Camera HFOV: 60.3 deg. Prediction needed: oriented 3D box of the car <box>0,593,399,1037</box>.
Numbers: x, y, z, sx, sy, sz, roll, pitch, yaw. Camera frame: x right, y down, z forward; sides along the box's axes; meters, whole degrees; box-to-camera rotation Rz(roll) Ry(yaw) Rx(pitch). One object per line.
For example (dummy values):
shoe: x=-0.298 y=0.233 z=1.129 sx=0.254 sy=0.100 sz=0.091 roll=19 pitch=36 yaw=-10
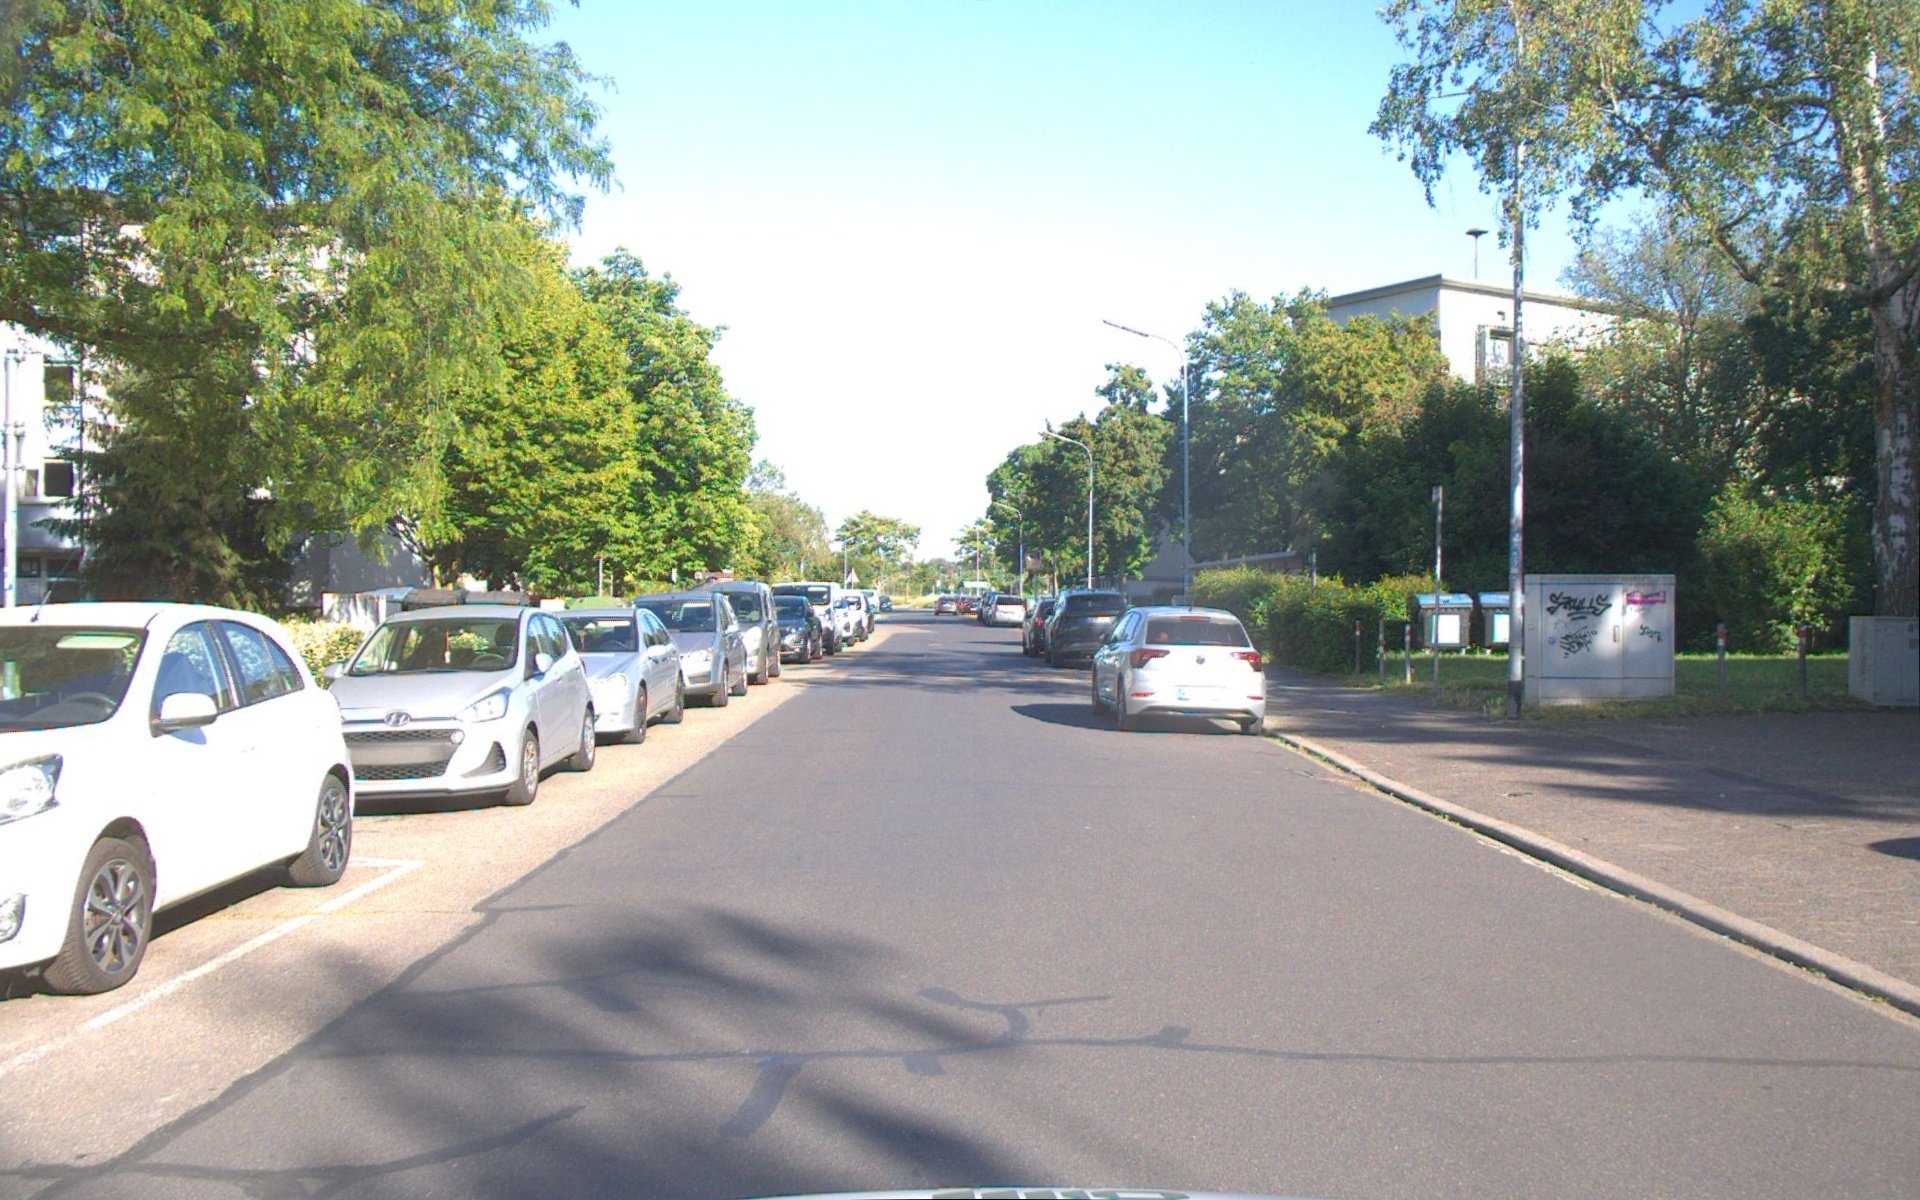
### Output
car: x=-4.099 y=0.764 z=7.755 sx=1.652 sy=1.561 sz=3.890 roll=-1 pitch=0 yaw=-1

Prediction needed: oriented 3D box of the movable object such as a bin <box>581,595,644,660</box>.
movable object such as a bin: x=-7.811 y=0.605 z=37.231 sx=1.079 sy=1.395 sz=1.361 roll=3 pitch=0 yaw=0

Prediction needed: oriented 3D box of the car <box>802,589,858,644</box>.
car: x=-4.192 y=0.500 z=53.884 sx=1.712 sy=1.699 sz=4.375 roll=-1 pitch=0 yaw=-3

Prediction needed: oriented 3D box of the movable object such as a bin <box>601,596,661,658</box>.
movable object such as a bin: x=-7.678 y=0.619 z=38.638 sx=1.079 sy=1.380 sz=1.361 roll=3 pitch=0 yaw=0

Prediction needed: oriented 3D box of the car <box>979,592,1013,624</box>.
car: x=2.134 y=0.457 z=98.893 sx=1.760 sy=1.818 sz=3.949 roll=1 pitch=0 yaw=-3

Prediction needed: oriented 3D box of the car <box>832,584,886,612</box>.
car: x=-7.663 y=-0.164 z=124.821 sx=3.975 sy=2.027 sz=1.799 roll=1 pitch=0 yaw=-6

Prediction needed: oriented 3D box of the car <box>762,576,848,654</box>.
car: x=-4.203 y=0.389 z=45.617 sx=1.876 sy=1.997 sz=5.087 roll=-1 pitch=0 yaw=0

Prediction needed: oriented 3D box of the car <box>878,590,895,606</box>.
car: x=-7.410 y=-0.236 z=166.549 sx=1.760 sy=1.589 sz=3.949 roll=1 pitch=0 yaw=-3

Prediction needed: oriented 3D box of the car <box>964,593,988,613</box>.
car: x=1.312 y=0.223 z=137.934 sx=1.760 sy=1.576 sz=3.949 roll=1 pitch=0 yaw=-3

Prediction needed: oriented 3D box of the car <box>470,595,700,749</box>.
car: x=-4.169 y=0.728 z=19.079 sx=1.652 sy=1.490 sz=4.524 roll=-2 pitch=0 yaw=-1

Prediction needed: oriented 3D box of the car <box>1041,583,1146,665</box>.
car: x=2.870 y=0.482 z=36.482 sx=1.869 sy=1.668 sz=4.628 roll=1 pitch=0 yaw=-1

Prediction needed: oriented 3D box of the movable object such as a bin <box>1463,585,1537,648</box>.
movable object such as a bin: x=12.198 y=0.359 z=37.418 sx=1.229 sy=1.376 sz=1.278 roll=1 pitch=0 yaw=-1

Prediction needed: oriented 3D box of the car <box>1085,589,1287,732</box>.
car: x=2.676 y=0.669 z=20.484 sx=1.718 sy=1.540 sz=4.102 roll=2 pitch=0 yaw=-3

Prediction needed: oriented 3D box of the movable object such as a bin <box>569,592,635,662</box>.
movable object such as a bin: x=-7.734 y=0.568 z=35.770 sx=1.079 sy=1.445 sz=1.361 roll=3 pitch=0 yaw=0

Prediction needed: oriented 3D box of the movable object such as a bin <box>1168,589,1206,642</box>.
movable object such as a bin: x=6.544 y=0.438 z=47.688 sx=0.898 sy=1.479 sz=1.232 roll=0 pitch=0 yaw=-1

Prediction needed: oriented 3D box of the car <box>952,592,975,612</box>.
car: x=0.300 y=0.174 z=145.377 sx=1.760 sy=1.672 sz=3.949 roll=1 pitch=0 yaw=-3

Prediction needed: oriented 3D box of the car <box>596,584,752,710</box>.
car: x=-4.094 y=0.620 z=24.237 sx=1.675 sy=1.628 sz=3.984 roll=-2 pitch=0 yaw=-2

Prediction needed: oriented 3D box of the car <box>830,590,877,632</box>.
car: x=-4.431 y=0.440 z=69.252 sx=1.711 sy=1.641 sz=4.307 roll=-1 pitch=0 yaw=-1

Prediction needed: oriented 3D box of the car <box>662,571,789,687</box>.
car: x=-4.209 y=0.483 z=30.247 sx=1.817 sy=1.925 sz=4.416 roll=-1 pitch=0 yaw=-2

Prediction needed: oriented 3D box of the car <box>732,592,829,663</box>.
car: x=-4.200 y=0.601 z=39.269 sx=1.710 sy=1.560 sz=4.140 roll=-1 pitch=0 yaw=2

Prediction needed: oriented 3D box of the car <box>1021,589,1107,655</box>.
car: x=2.600 y=0.527 z=42.339 sx=1.869 sy=1.557 sz=4.327 roll=1 pitch=0 yaw=-1

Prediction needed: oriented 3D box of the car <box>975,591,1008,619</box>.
car: x=1.966 y=0.286 z=103.074 sx=1.760 sy=1.672 sz=3.949 roll=1 pitch=0 yaw=-3

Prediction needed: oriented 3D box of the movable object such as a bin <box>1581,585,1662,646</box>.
movable object such as a bin: x=15.261 y=0.360 z=38.195 sx=1.232 sy=1.376 sz=1.275 roll=1 pitch=0 yaw=-11

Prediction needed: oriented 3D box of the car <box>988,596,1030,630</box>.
car: x=2.429 y=0.633 z=82.709 sx=1.760 sy=1.589 sz=3.949 roll=1 pitch=0 yaw=-3

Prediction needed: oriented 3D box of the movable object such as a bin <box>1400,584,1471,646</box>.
movable object such as a bin: x=10.791 y=0.328 z=37.576 sx=1.229 sy=1.376 sz=1.278 roll=1 pitch=0 yaw=-1

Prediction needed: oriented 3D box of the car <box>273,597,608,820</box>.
car: x=-4.052 y=0.757 z=13.530 sx=1.652 sy=1.532 sz=3.816 roll=-1 pitch=0 yaw=-2

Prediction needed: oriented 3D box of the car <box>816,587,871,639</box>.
car: x=-4.183 y=0.448 z=59.656 sx=1.711 sy=1.762 sz=4.005 roll=-1 pitch=0 yaw=-1

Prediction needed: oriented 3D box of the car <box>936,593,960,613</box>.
car: x=-0.980 y=0.224 z=129.810 sx=1.646 sy=1.540 sz=4.102 roll=2 pitch=0 yaw=-3
